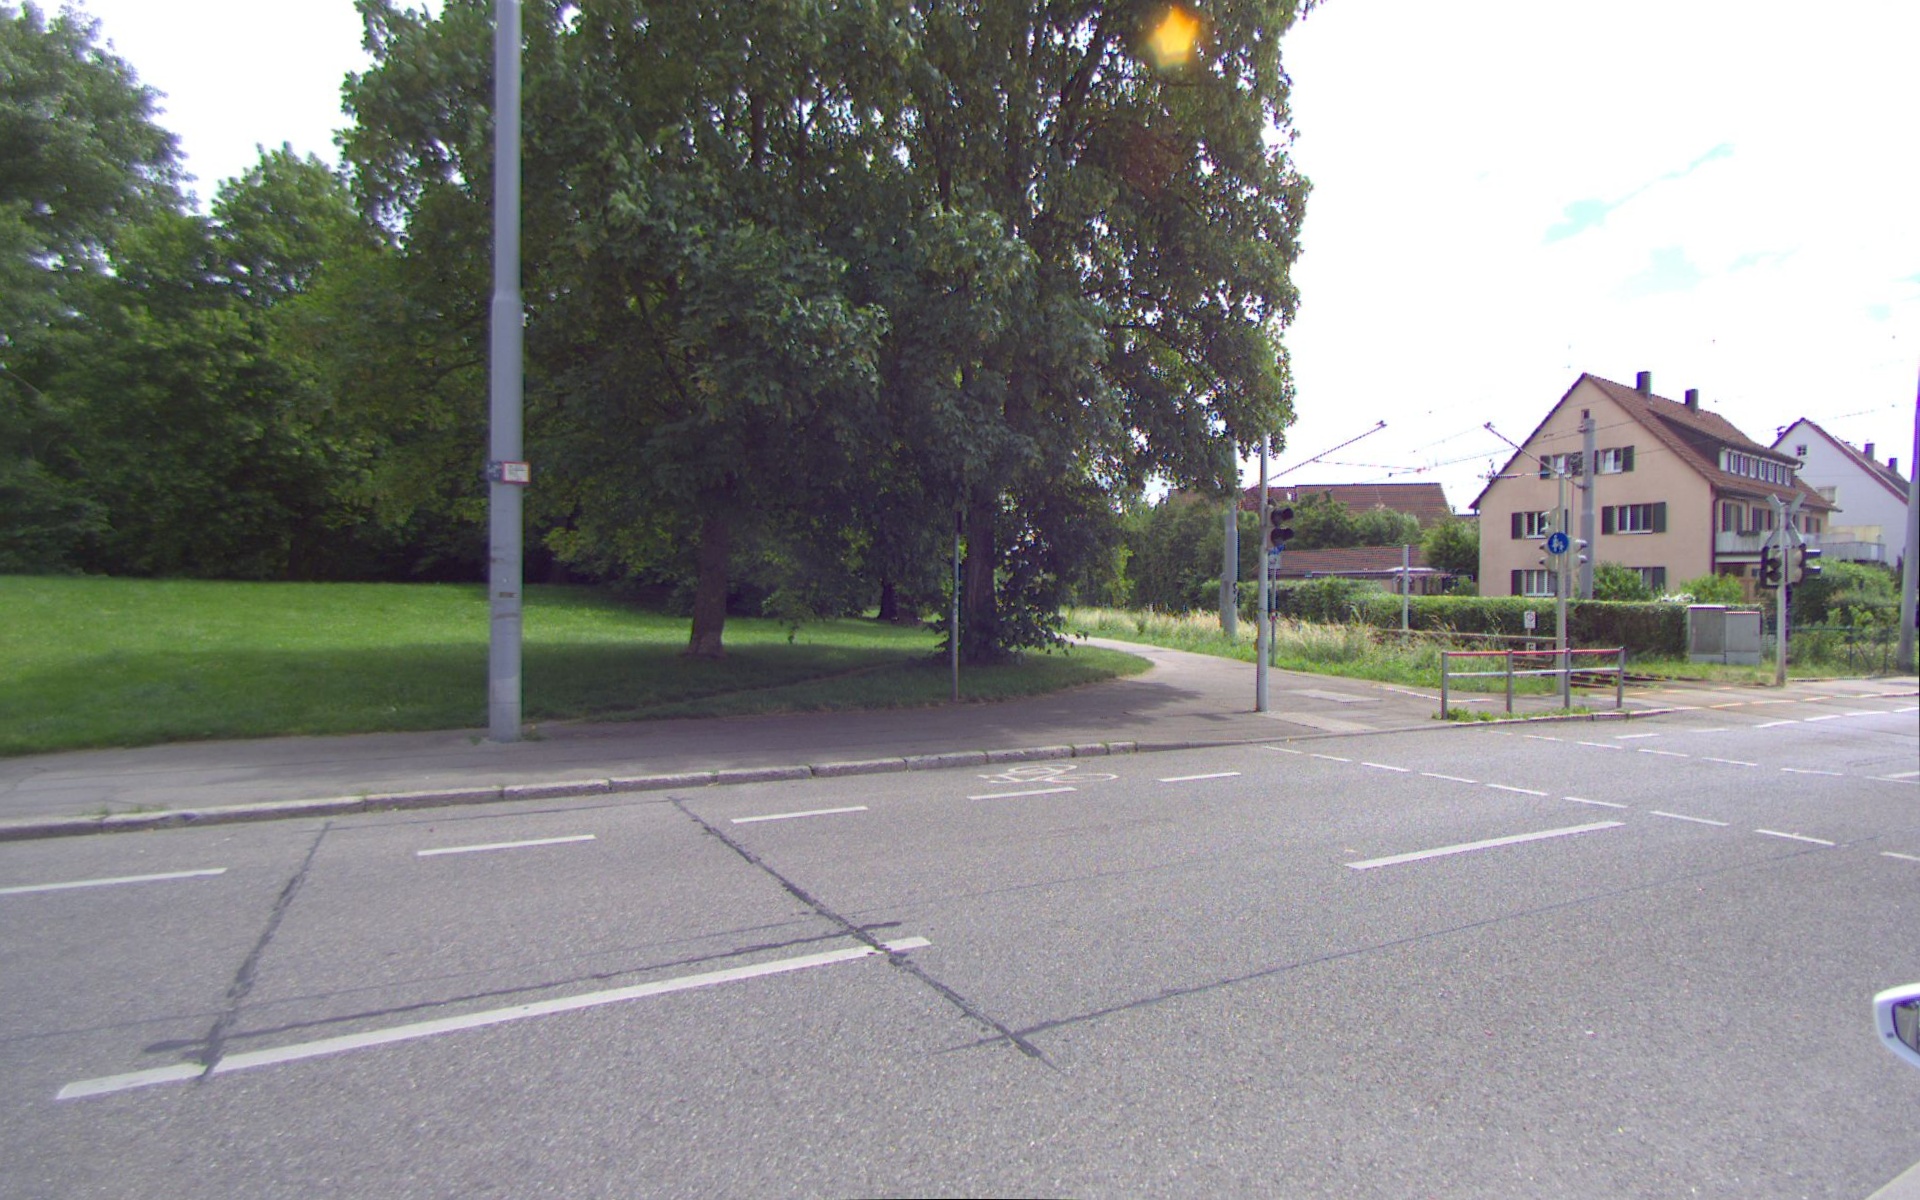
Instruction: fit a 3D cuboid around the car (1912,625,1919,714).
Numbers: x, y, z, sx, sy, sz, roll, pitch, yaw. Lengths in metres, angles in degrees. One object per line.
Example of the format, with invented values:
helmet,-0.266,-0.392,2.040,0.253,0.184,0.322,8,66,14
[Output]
car,18.177,1.177,17.100,4.018,1.478,1.681,0,1,-28
